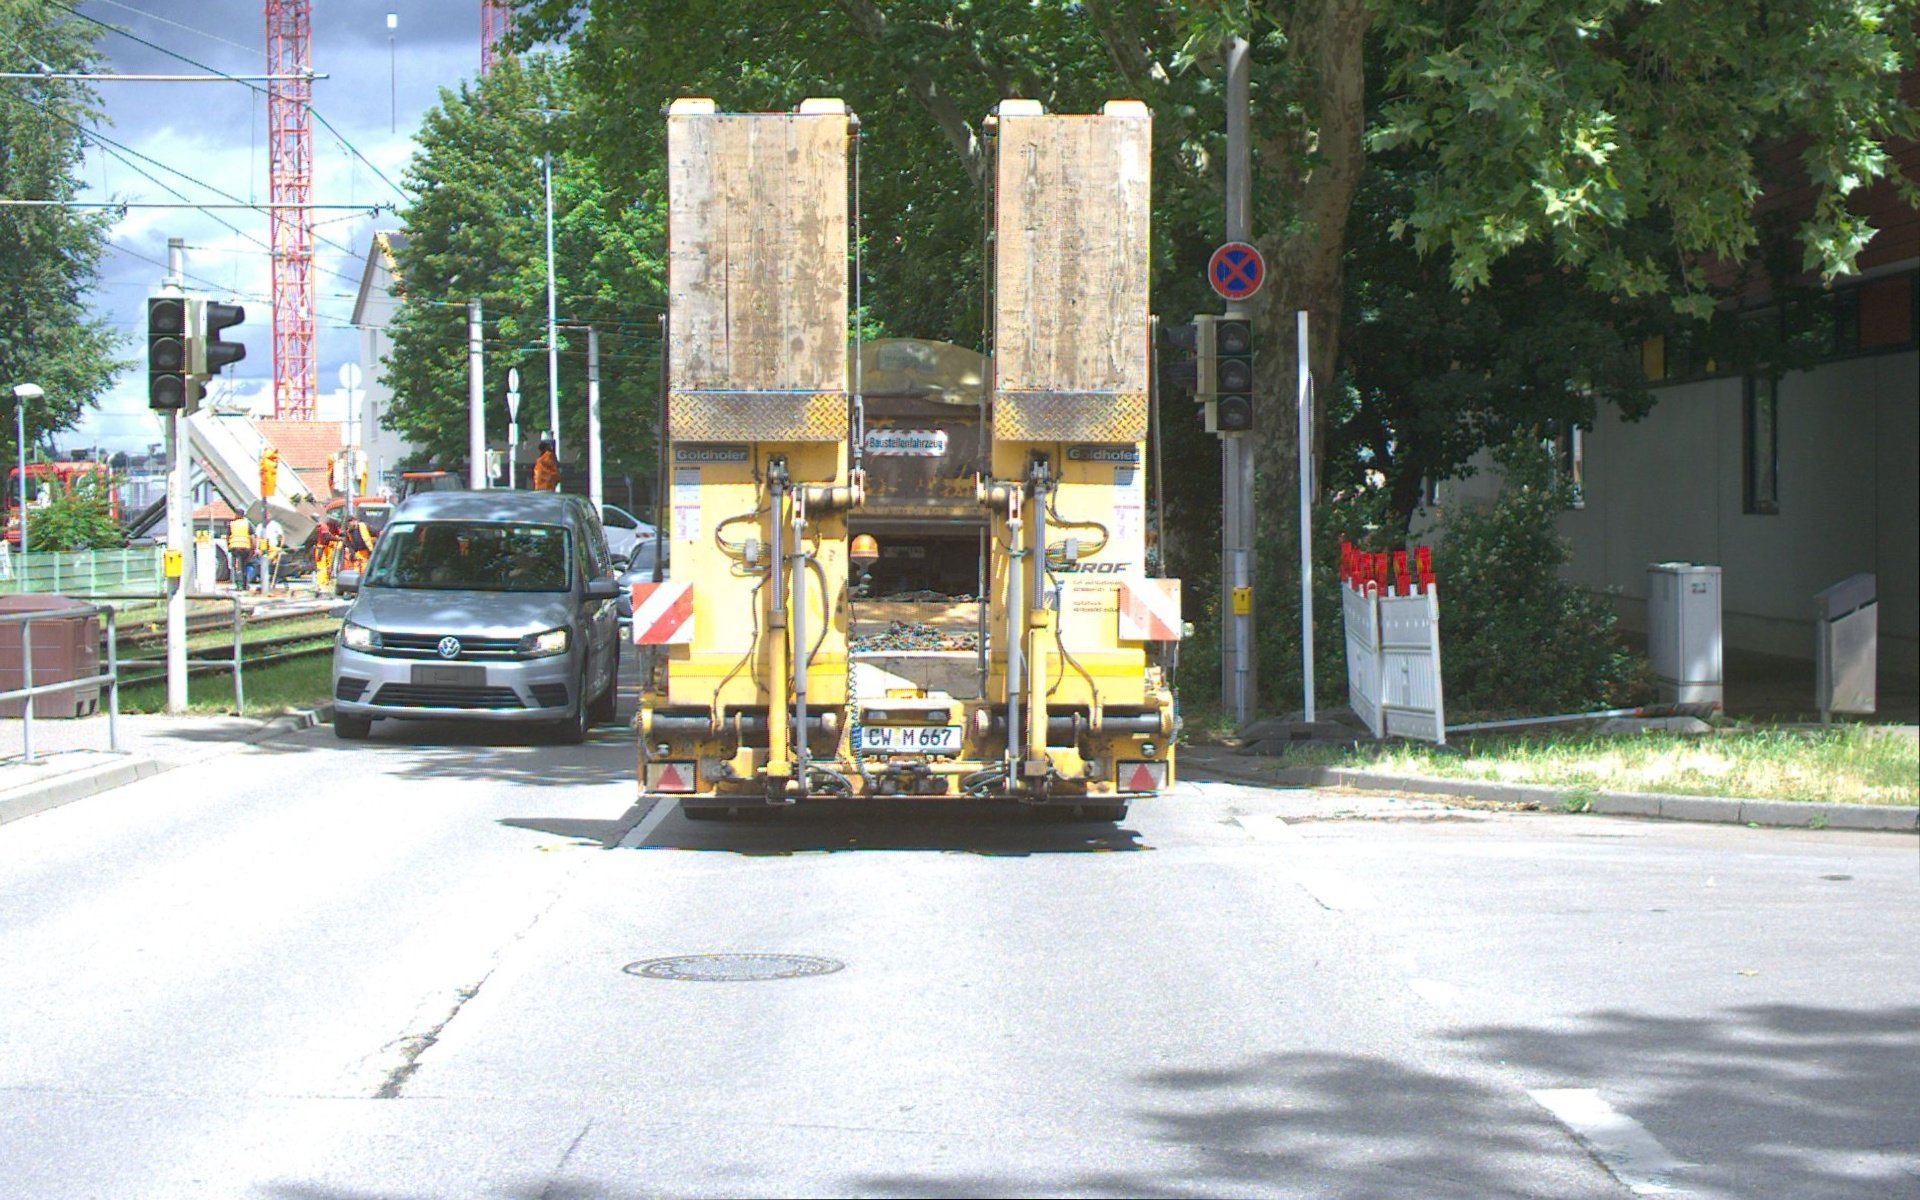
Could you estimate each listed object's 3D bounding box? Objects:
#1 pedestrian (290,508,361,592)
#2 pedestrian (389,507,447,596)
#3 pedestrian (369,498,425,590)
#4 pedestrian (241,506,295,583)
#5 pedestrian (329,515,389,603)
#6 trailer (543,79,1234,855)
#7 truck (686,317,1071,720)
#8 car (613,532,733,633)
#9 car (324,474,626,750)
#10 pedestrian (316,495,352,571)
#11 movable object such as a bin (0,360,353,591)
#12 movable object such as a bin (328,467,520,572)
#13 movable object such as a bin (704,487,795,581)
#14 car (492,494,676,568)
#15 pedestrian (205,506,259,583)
[{"bbox_3d":[-13.064,-1.022,70.788,1.108,1.709,0.888,0,1,-45],"label":"pedestrian"},{"bbox_3d":[-11.509,-1.035,72.994,0.887,1.861,0.836,1,1,28],"label":"pedestrian"},{"bbox_3d":[-11.486,-1.140,70.139,0.885,1.861,0.837,0,1,-29],"label":"pedestrian"},{"bbox_3d":[-14.754,-1.186,73.339,0.885,1.639,0.837,0,1,-31],"label":"pedestrian"},{"bbox_3d":[-12.068,-0.827,69.054,0.886,1.754,0.836,1,1,19],"label":"pedestrian"},{"bbox_3d":[-0.487,-0.702,21.383,3.154,3.540,11.098,1,1,-2],"label":"trailer"},{"bbox_3d":[-0.760,-0.705,30.868,2.989,3.124,7.888,1,1,-2],"label":"truck"},{"bbox_3d":[-4.243,-0.286,51.268,1.636,1.430,3.852,0,1,-3],"label":"car"},{"bbox_3d":[-3.545,0.024,25.857,1.753,1.834,4.647,2,1,-3],"label":"car"},{"bbox_3d":[-15.401,-1.655,84.612,0.834,1.861,0.888,0,1,-12],"label":"pedestrian"},{"bbox_3d":[-19.349,-2.995,83.714,9.215,5.396,2.660,1,1,26],"label":"movable object such as a bin"},{"bbox_3d":[-13.710,-2.059,87.902,4.373,2.620,2.217,1,1,26],"label":"movable object such as a bin"},{"bbox_3d":[-4.605,-1.455,75.428,1.399,2.007,2.555,1,1,10],"label":"movable object such as a bin"},{"bbox_3d":[-11.008,-2.029,100.589,5.088,2.095,1.977,-1,1,-15],"label":"car"},{"bbox_3d":[-15.613,-1.201,73.718,0.885,1.639,0.900,0,1,-31],"label":"pedestrian"}]
